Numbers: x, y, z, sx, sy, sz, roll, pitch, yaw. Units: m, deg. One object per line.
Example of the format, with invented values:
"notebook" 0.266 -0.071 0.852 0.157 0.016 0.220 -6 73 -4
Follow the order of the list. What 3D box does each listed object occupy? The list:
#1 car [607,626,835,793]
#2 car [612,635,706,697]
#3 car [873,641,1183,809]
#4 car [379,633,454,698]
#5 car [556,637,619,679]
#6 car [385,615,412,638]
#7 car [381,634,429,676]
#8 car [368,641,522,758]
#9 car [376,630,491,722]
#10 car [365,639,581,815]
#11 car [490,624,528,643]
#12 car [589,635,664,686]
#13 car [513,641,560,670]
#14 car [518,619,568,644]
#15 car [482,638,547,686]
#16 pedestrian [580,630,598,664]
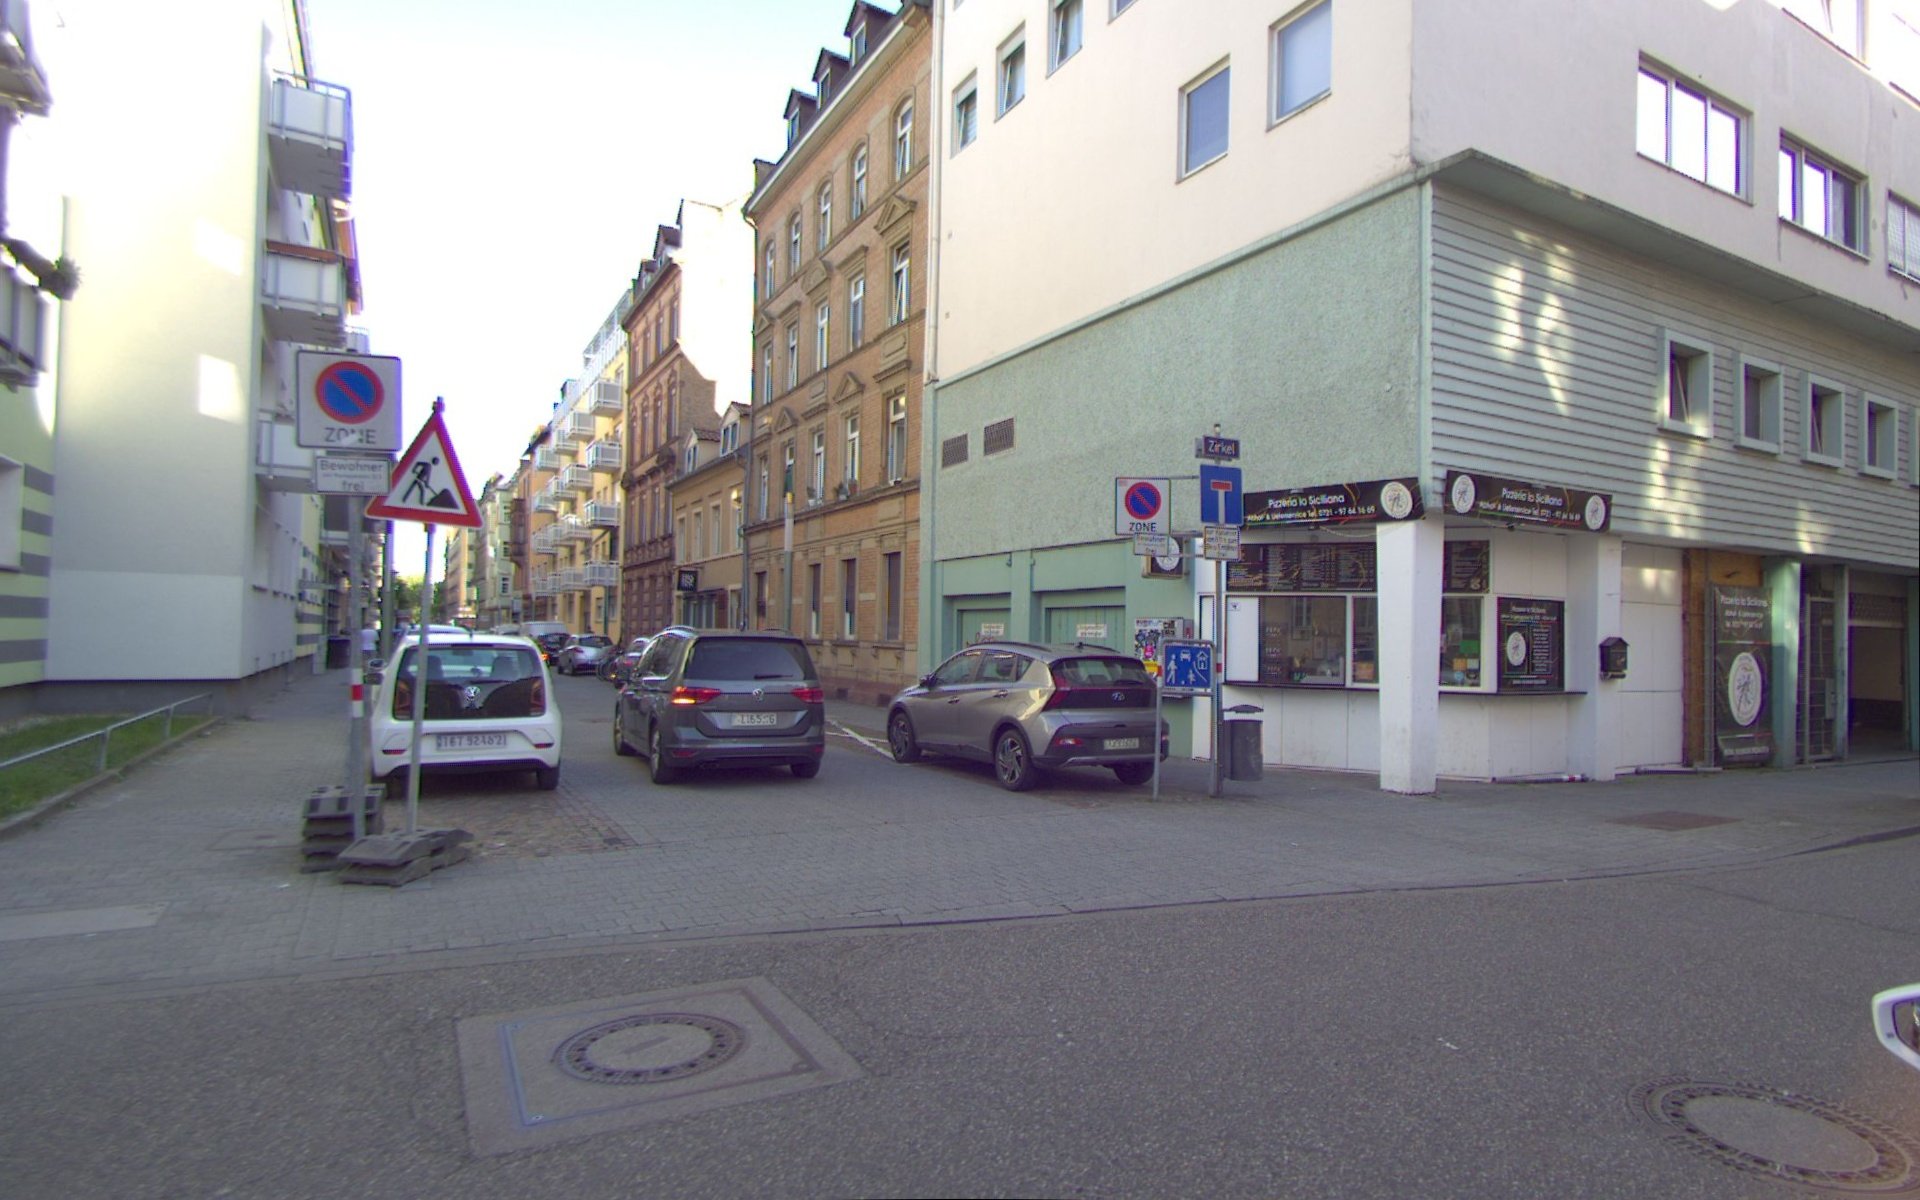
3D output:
"car" -2.976 1.124 11.822 1.763 1.589 4.144 2 -2 -26
"car" -8.127 1.706 26.924 1.764 1.501 3.886 0 -1 -27
"car" 0.591 1.268 11.568 1.673 1.540 3.913 2 -2 -30
"car" -13.092 1.512 24.124 1.469 1.408 3.377 0 -1 -31
"car" -13.637 2.073 36.705 1.764 1.426 3.462 0 -1 -27
"car" -39.896 1.894 71.424 1.566 1.527 3.873 2 -2 -28
"car" -18.895 1.839 34.268 1.242 1.307 3.064 0 -1 -26
"car" -7.690 1.341 14.834 1.739 1.416 4.294 2 -3 -30
"car" -10.631 1.426 20.153 1.740 1.632 4.111 0 -2 -32
"car" -5.132 1.160 10.406 1.705 1.456 3.318 2 -2 -30
"car" -28.911 2.125 64.316 1.768 1.202 3.055 0 -2 -33
"car" -10.843 1.905 32.519 1.764 1.501 3.886 0 -1 -27
"car" -19.084 2.471 45.221 1.455 1.202 3.055 0 -2 -33
"car" -20.669 1.562 49.758 1.768 1.202 3.055 0 -2 -33
"car" -14.186 1.931 31.882 1.566 1.400 3.873 2 -2 -28
"pedestrian" -18.112 2.286 49.018 0.683 1.602 0.630 2 0 -32
